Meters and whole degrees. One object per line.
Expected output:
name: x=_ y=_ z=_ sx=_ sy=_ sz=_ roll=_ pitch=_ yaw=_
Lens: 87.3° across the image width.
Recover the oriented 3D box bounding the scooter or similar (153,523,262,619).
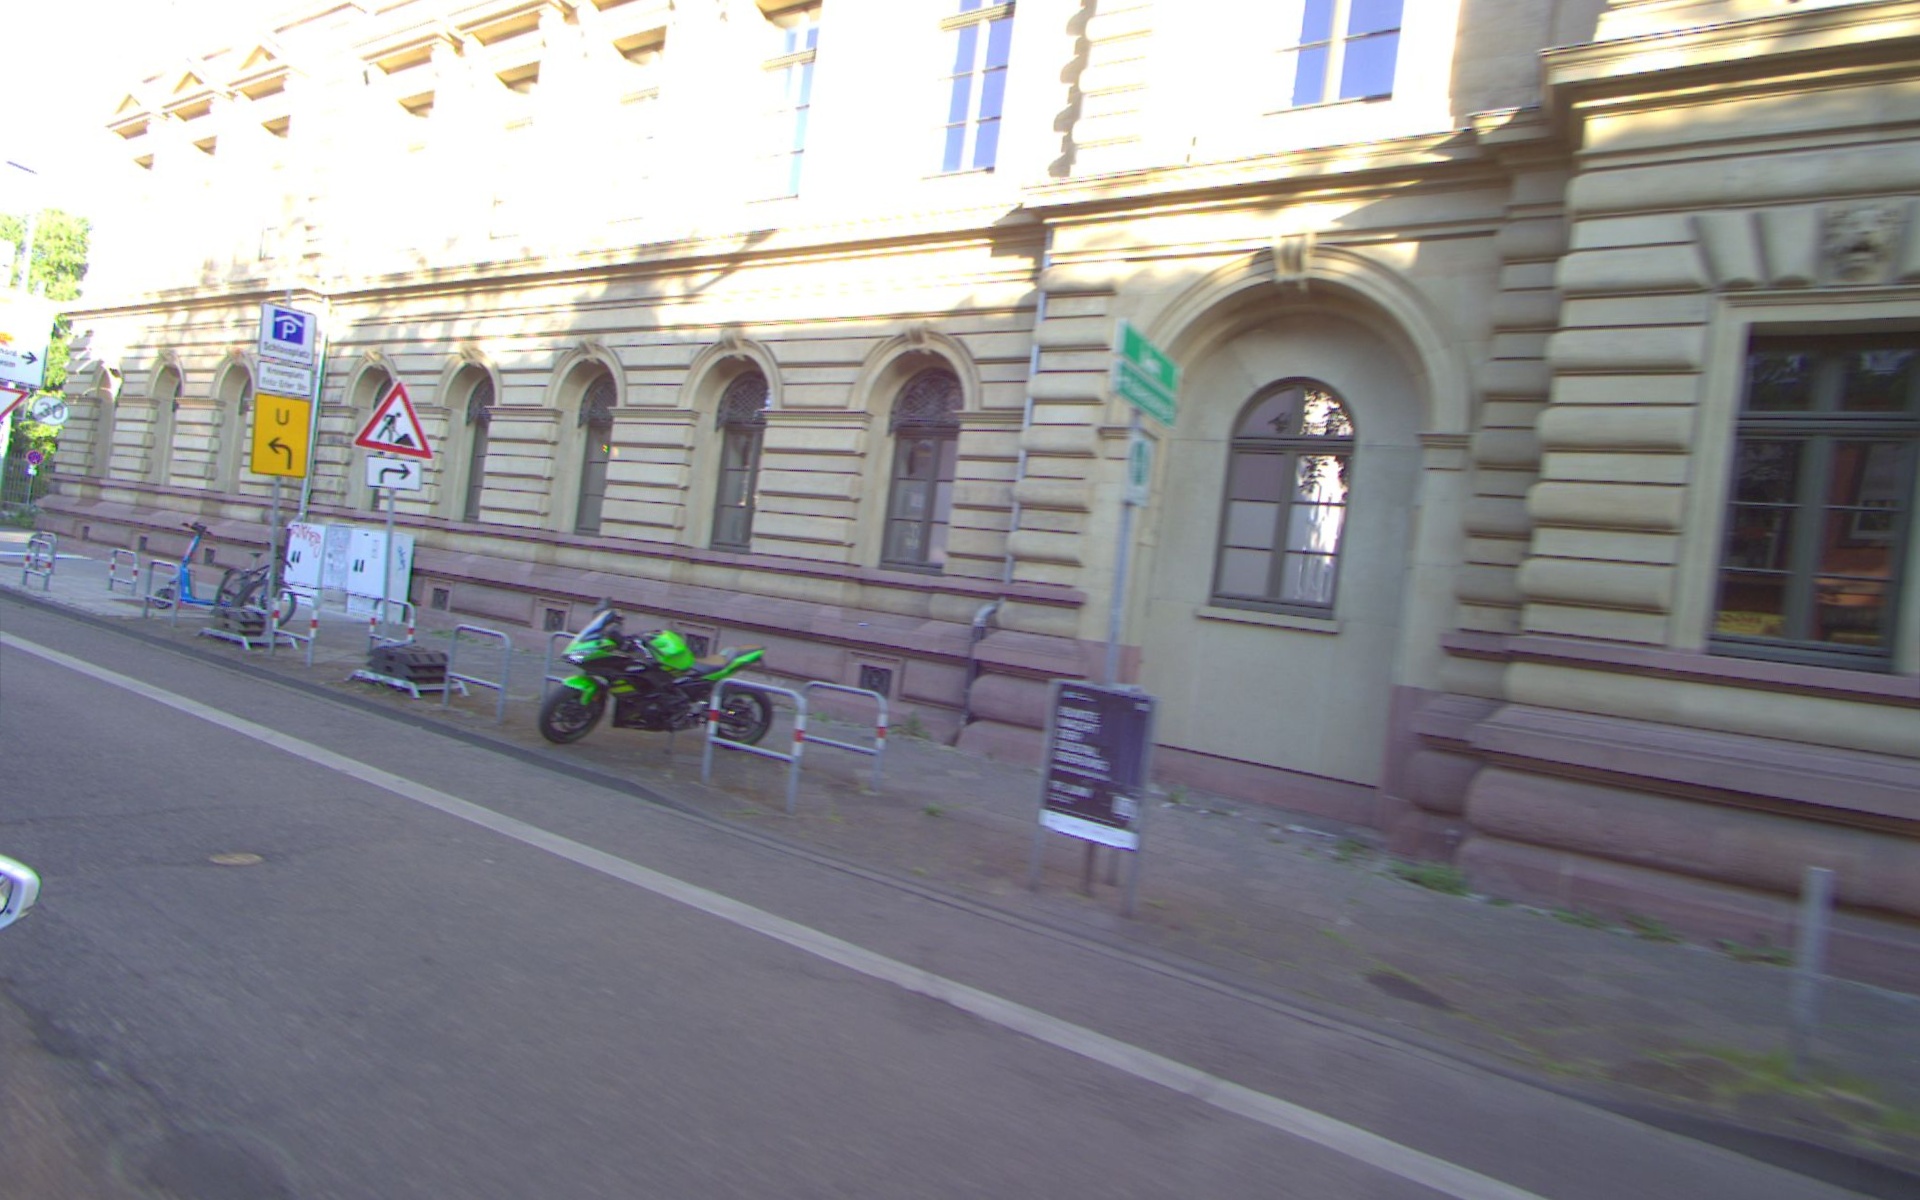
scooter or similar: x=-10.568 y=-0.401 z=14.129 sx=1.125 sy=1.211 sz=0.577 roll=5 pitch=2 yaw=-41

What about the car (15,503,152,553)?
car: x=-38.920 y=-3.161 z=44.777 sx=1.684 sy=1.462 sz=4.196 roll=8 pitch=-1 yaw=27

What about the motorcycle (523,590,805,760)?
motorcycle: x=-2.469 y=0.650 z=8.478 sx=2.080 sy=1.230 sz=0.704 roll=6 pitch=1 yaw=-30

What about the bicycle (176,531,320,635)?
bicycle: x=-9.430 y=-0.231 z=13.309 sx=1.912 sy=1.149 sz=0.827 roll=8 pitch=2 yaw=32
